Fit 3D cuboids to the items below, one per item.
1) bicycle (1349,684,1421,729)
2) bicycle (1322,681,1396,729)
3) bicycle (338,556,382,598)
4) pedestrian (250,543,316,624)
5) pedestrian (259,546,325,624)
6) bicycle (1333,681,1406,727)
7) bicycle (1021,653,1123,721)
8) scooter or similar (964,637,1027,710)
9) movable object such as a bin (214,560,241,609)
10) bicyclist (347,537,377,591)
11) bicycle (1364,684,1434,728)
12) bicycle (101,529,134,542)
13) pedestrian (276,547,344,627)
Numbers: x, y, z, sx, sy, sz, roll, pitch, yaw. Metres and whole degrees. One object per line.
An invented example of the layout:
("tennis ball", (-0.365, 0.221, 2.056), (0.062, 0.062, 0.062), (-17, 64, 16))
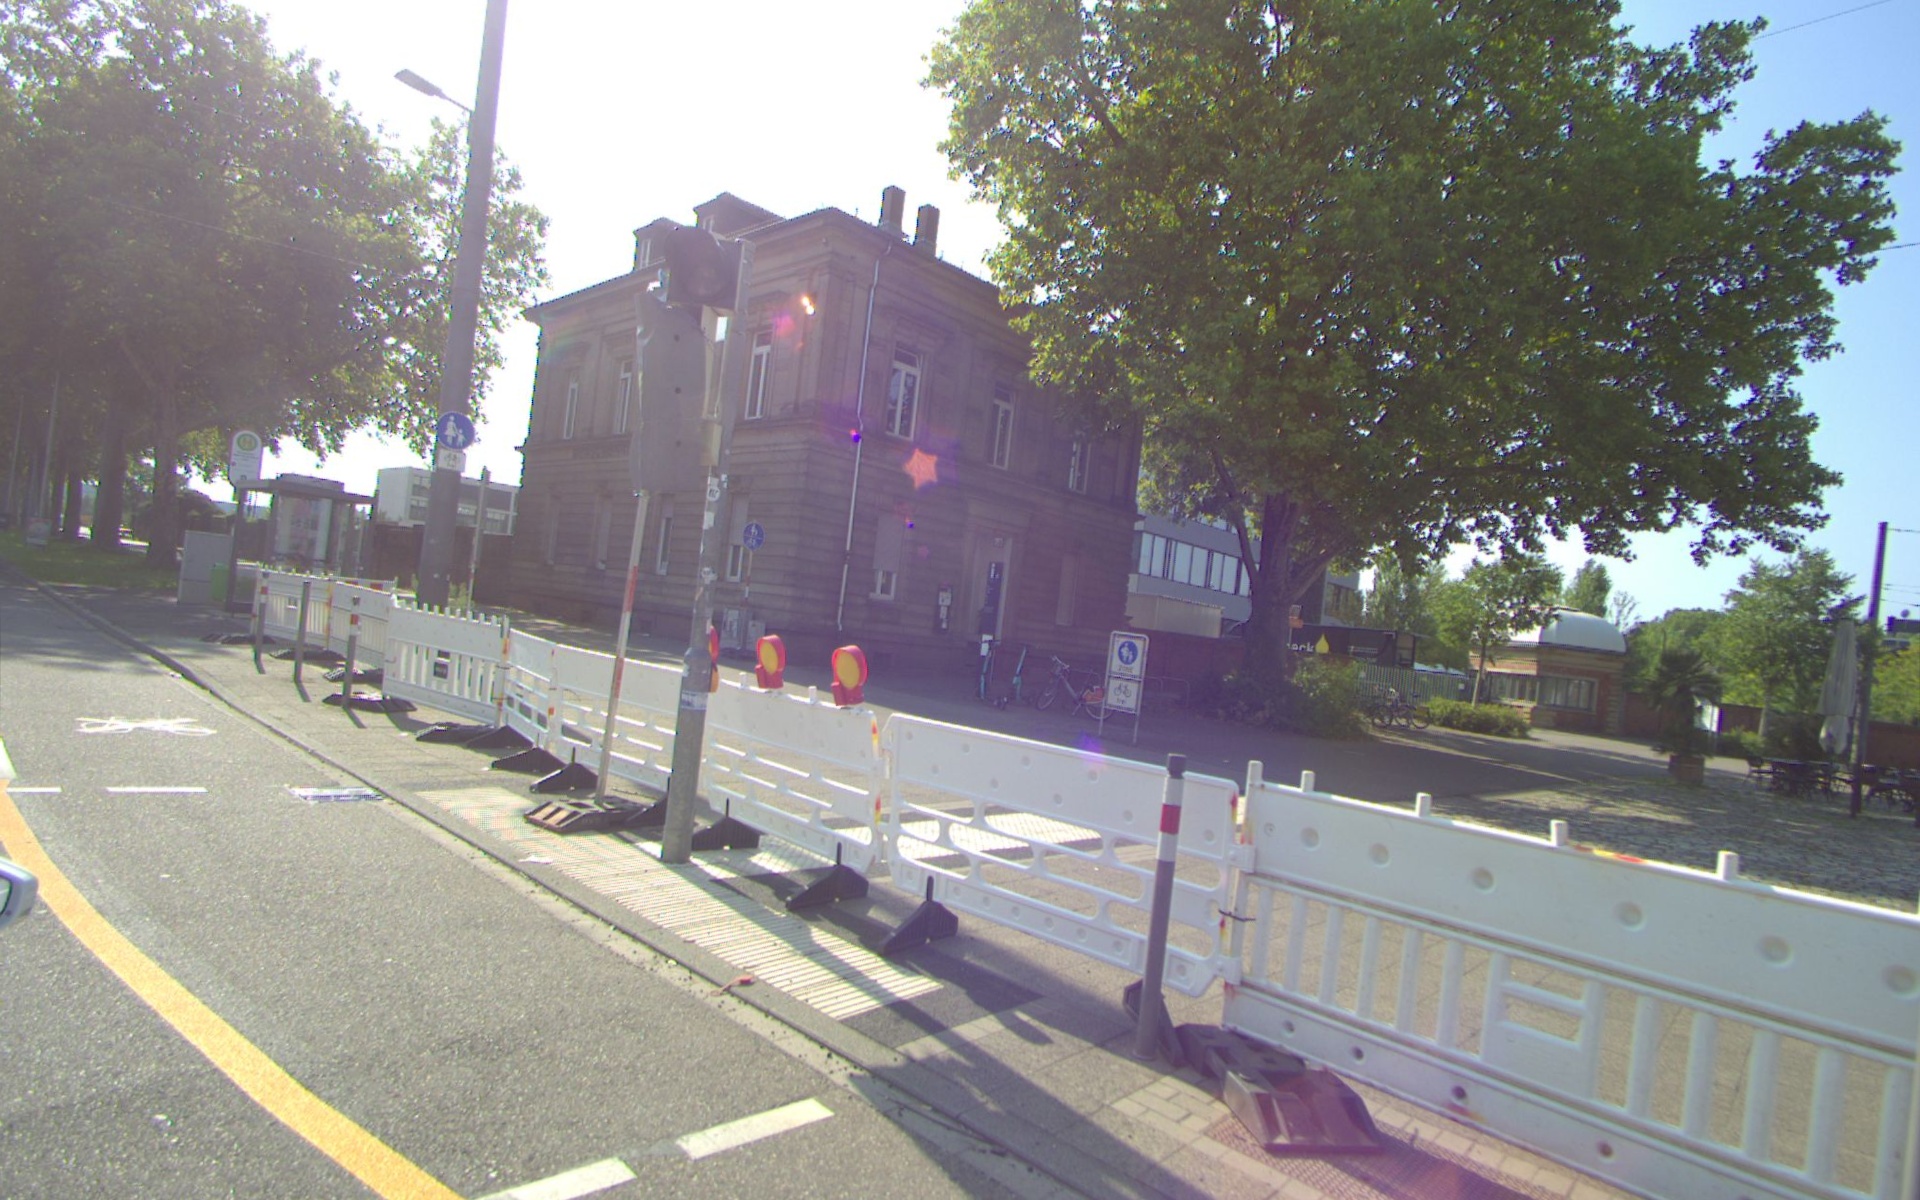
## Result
("bicycle", (12.785, 3.191, 30.315), (1.831, 1.102, 0.490), (6, -1, 41))
("bicycle", (11.423, 3.008, 28.854), (1.831, 1.102, 0.490), (6, -1, 41))
("bicycle", (-18.178, -0.698, 30.461), (1.831, 1.102, 0.490), (6, -1, 41))
("pedestrian", (-12.377, -0.299, 18.398), (0.603, 1.381, 0.749), (5, -3, 43))
("pedestrian", (-11.906, -0.269, 17.937), (0.603, 1.275, 0.740), (5, -3, 43))
("bicycle", (12.040, 3.048, 29.614), (1.831, 1.102, 0.490), (6, -1, 41))
("bicycle", (2.162, 1.669, 19.456), (1.785, 1.012, 0.492), (9, 1, 25))
("scooter or similar", (0.662, 1.379, 19.052), (0.423, 1.243, 1.160), (6, 0, -39))
("movable object such as a bin", (-14.474, -0.308, 19.878), (0.381, 0.927, 0.271), (6, 0, 42))
("bicyclist", (-18.098, -1.081, 30.433), (0.588, 1.558, 0.468), (6, 0, 41))
("bicycle", (13.692, 3.311, 31.424), (1.831, 1.102, 0.531), (6, -1, 41))
("bicycle", (-75.611, -5.794, 90.253), (0.496, 0.857, 2.175), (6, -1, 44))
("pedestrian", (-11.280, -0.219, 17.465), (0.603, 1.275, 0.740), (5, -3, 43))
